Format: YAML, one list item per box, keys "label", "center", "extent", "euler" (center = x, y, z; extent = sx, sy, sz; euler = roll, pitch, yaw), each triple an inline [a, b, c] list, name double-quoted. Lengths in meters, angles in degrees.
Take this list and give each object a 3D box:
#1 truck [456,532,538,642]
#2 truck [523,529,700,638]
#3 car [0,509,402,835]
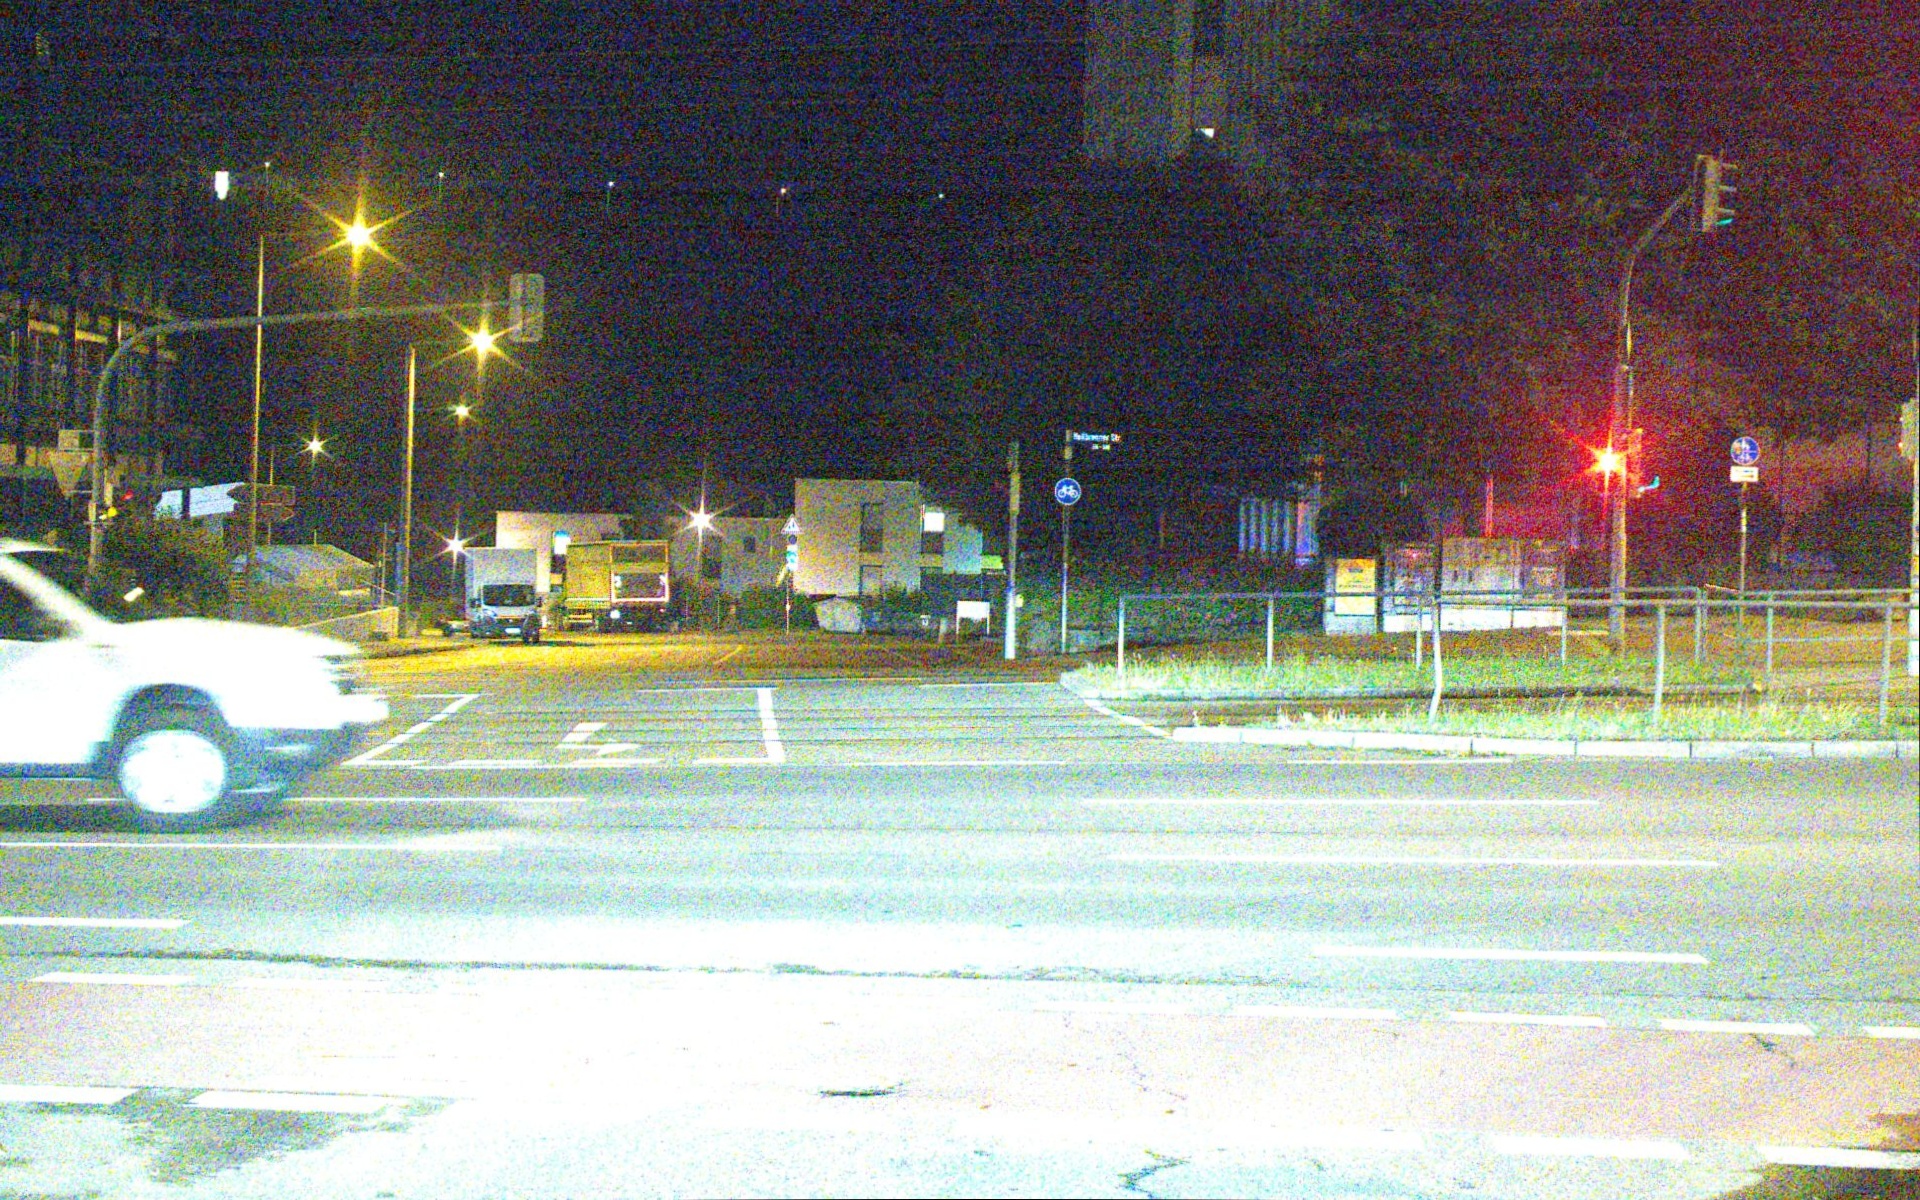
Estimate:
- label: "truck"
  center: [-16.067, -0.472, 119.102]
  extent: [2.582, 3.694, 5.739]
  euler: [1, 1, -9]
- label: "truck"
  center: [-15.459, -0.764, 151.229]
  extent: [4.821, 4.531, 12.669]
  euler: [1, 1, -19]
- label: "car"
  center: [-5.393, 0.360, 18.898]
  extent: [4.283, 1.677, 1.875]
  euler: [0, 2, 3]
